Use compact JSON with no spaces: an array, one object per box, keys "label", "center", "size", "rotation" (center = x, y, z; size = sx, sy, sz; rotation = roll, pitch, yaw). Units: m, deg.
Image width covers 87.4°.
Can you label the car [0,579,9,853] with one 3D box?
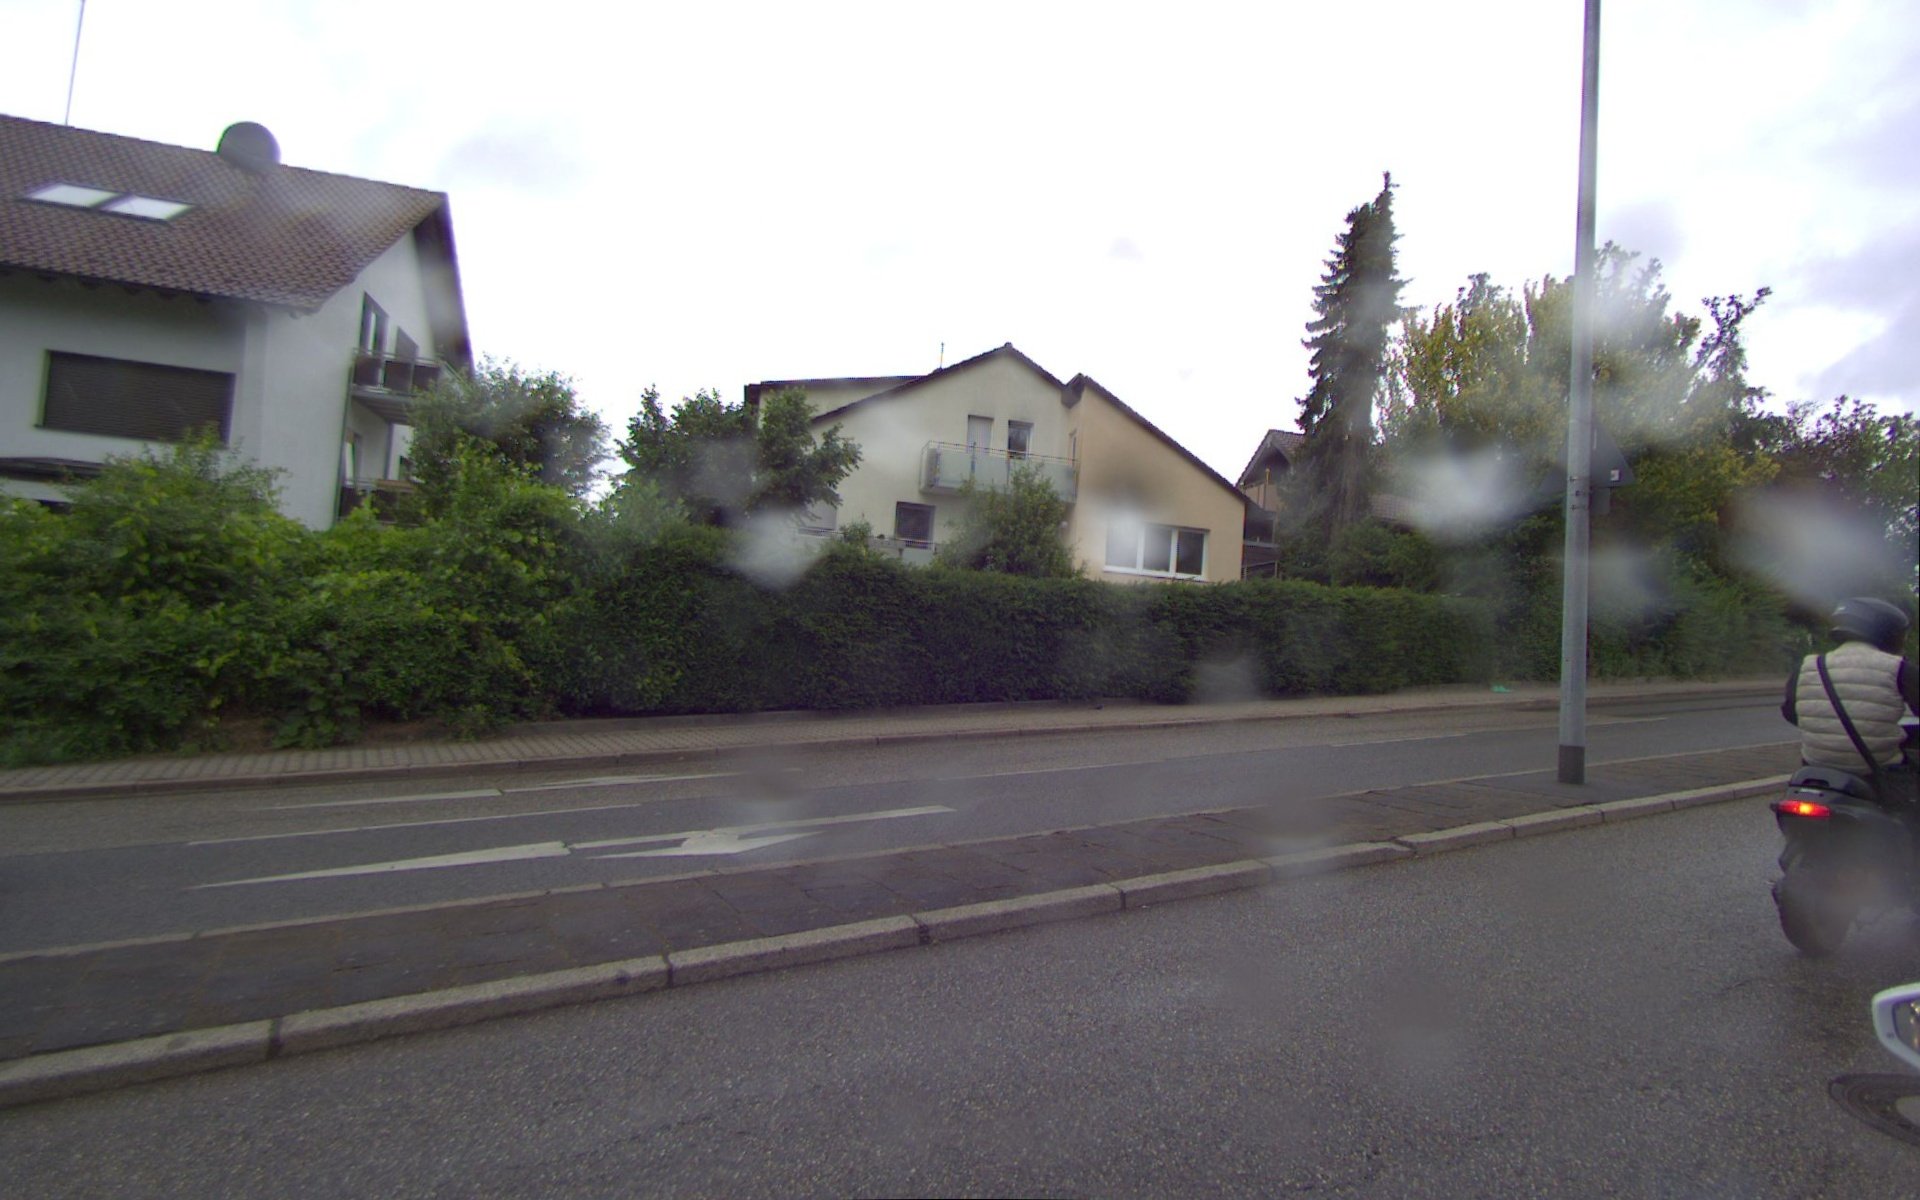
[{"label":"car","center":[-7.573,0.655,4.338],"size":[4.666,1.739,1.983],"rotation":[2,-3,-32]}]

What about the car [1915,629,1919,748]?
[{"label":"car","center":[10.999,1.061,9.398],"size":[4.280,1.547,1.983],"rotation":[2,-4,-32]}]

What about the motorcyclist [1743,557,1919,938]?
[{"label":"motorcyclist","center":[4.356,0.662,4.806],"size":[0.666,1.664,0.761],"rotation":[2,-3,-30]}]

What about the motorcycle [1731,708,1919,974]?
[{"label":"motorcycle","center":[4.597,1.086,4.938],"size":[1.727,1.066,0.687],"rotation":[3,-3,-31]}]
